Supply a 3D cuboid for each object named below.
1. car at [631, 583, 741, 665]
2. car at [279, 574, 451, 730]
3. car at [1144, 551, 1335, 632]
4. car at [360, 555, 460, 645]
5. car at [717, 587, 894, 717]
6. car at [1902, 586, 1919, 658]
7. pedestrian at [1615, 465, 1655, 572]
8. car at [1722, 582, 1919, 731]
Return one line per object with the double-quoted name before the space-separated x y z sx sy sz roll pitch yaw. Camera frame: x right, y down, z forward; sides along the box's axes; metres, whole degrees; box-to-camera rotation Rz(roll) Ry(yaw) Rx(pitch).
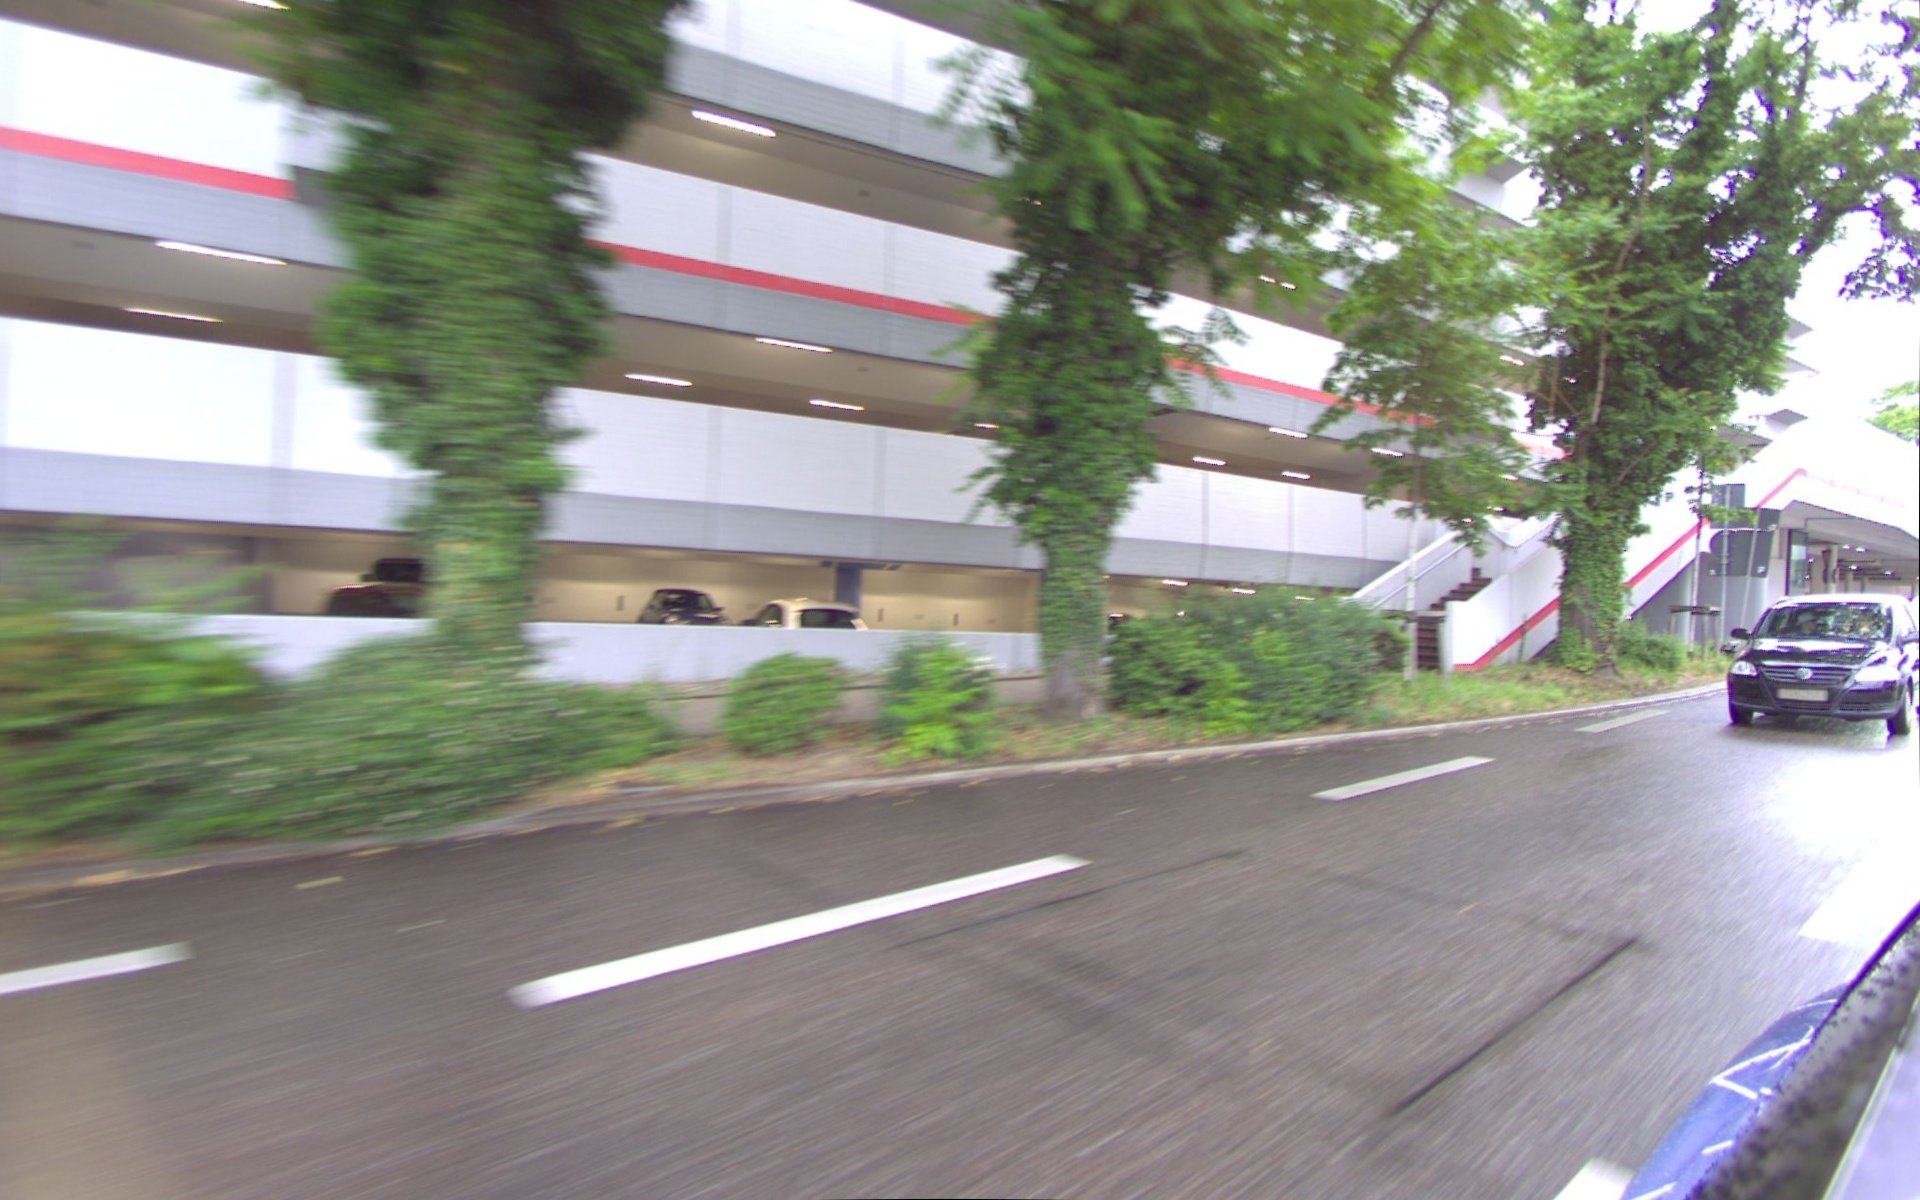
"car" -6.903 0.515 25.234 1.779 1.805 4.006 0 1 -28
"car" -7.990 0.571 13.801 1.779 1.805 3.472 0 1 -28
"car" 6.092 -0.202 22.386 1.776 1.560 3.746 4 -1 -35
"car" -12.114 -0.054 22.357 1.779 1.805 4.006 0 1 -28
"car" -2.604 0.732 16.455 1.779 1.805 3.472 0 1 -28
"car" 21.919 0.442 21.903 3.968 1.470 1.913 -1 1 -42
"pedestrian" 13.929 -1.663 20.876 0.484 2.181 0.515 0 1 -36
"car" 10.918 0.595 12.475 3.920 1.544 1.682 1 0 -41
